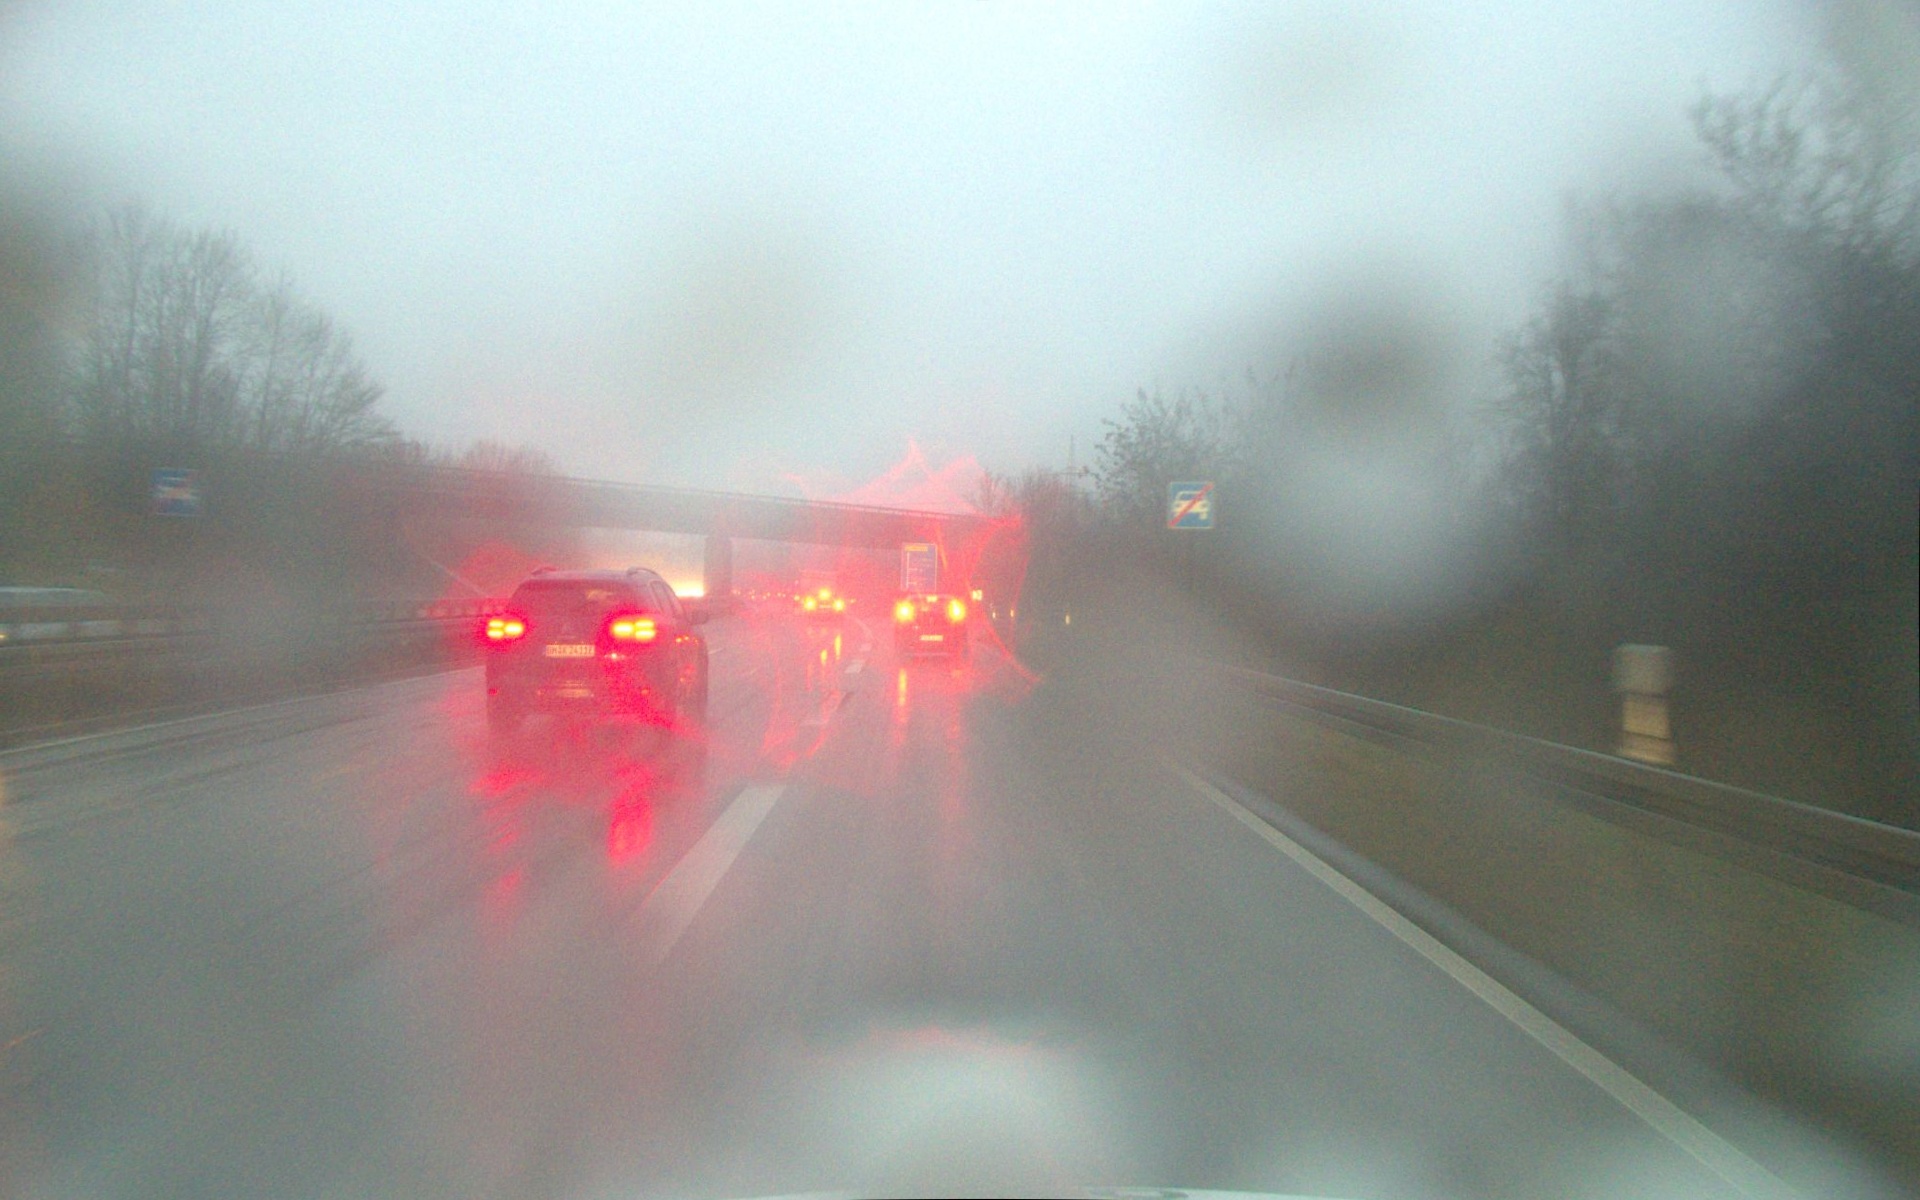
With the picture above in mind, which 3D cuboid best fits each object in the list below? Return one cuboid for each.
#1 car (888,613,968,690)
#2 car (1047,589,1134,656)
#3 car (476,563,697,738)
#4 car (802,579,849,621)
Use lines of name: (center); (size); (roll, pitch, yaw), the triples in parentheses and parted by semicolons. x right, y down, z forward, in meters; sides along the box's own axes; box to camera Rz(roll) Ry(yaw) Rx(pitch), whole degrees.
car: (-0.690, 1.160, 38.535); (1.696, 1.453, 3.767); (0, 3, 1)
car: (2.903, 0.508, 37.441); (1.649, 1.443, 3.873); (0, -1, -1)
car: (-3.948, 0.480, 18.104); (1.956, 1.694, 3.994); (0, 0, -7)
car: (-5.858, -0.029, 72.444); (1.841, 1.645, 3.873); (2, 2, -2)
